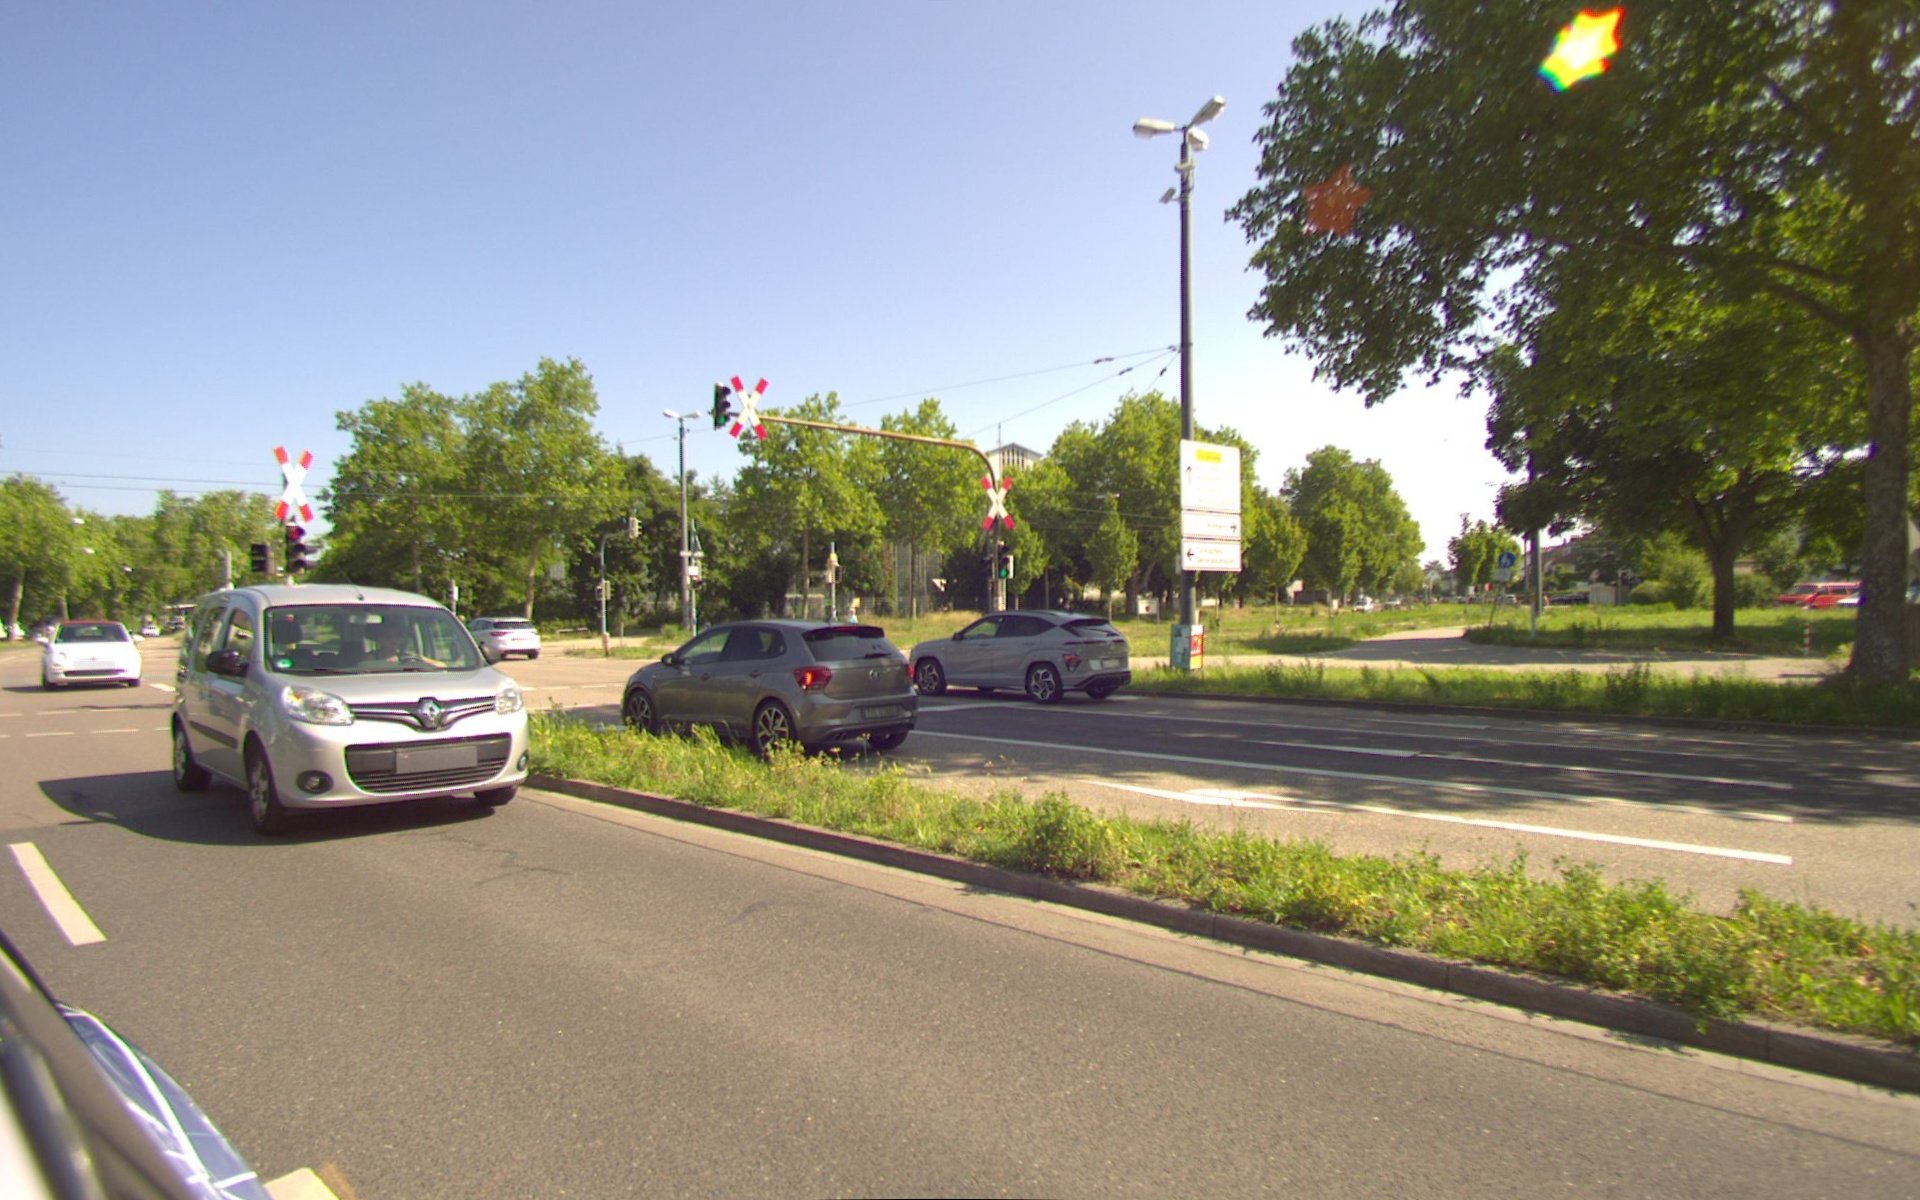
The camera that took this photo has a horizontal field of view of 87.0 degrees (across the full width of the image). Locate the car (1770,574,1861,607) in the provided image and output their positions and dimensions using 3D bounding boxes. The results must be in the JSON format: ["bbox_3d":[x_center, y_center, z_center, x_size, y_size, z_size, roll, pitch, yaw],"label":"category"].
[{"bbox_3d":[46.264,-0.512,54.735,3.920,1.715,1.820,-1,-1,-15],"label":"car"}]

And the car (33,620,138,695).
[{"bbox_3d":[-19.818,1.249,22.945,1.664,1.502,4.381,-1,-1,-41],"label":"car"}]

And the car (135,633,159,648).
[{"bbox_3d":[-116.212,5.728,144.771,1.965,2.029,4.012,-1,-1,-28],"label":"car"}]

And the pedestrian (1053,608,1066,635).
[{"bbox_3d":[7.788,1.649,79.021,0.755,2.107,0.610,-2,-1,42],"label":"pedestrian"}]

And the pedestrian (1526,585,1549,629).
[{"bbox_3d":[27.213,0.336,47.661,0.712,2.029,0.784,-3,-2,43],"label":"pedestrian"}]

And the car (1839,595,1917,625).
[{"bbox_3d":[46.921,0.512,51.714,3.285,1.457,1.353,-1,-1,-15],"label":"car"}]

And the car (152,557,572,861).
[{"bbox_3d":[-5.112,0.721,8.369,4.376,1.854,1.851,-2,-2,44],"label":"car"}]

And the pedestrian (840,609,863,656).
[{"bbox_3d":[-3.685,1.110,34.449,0.665,1.573,0.363,-2,-1,23],"label":"pedestrian"}]

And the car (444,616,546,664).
[{"bbox_3d":[-15.967,1.340,34.636,1.674,1.519,4.664,0,-2,-45],"label":"car"}]

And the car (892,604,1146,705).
[{"bbox_3d":[0.949,0.943,18.106,4.429,1.601,1.691,-2,-3,40],"label":"car"}]

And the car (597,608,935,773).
[{"bbox_3d":[-2.336,0.899,11.445,4.130,1.519,1.675,-2,-2,44],"label":"car"}]

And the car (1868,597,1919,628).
[{"bbox_3d":[45.928,0.573,48.926,3.285,1.457,1.452,-1,-1,-15],"label":"car"}]

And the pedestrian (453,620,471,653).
[{"bbox_3d":[-23.526,1.728,47.797,0.569,1.546,0.599,-2,-2,43],"label":"pedestrian"}]
